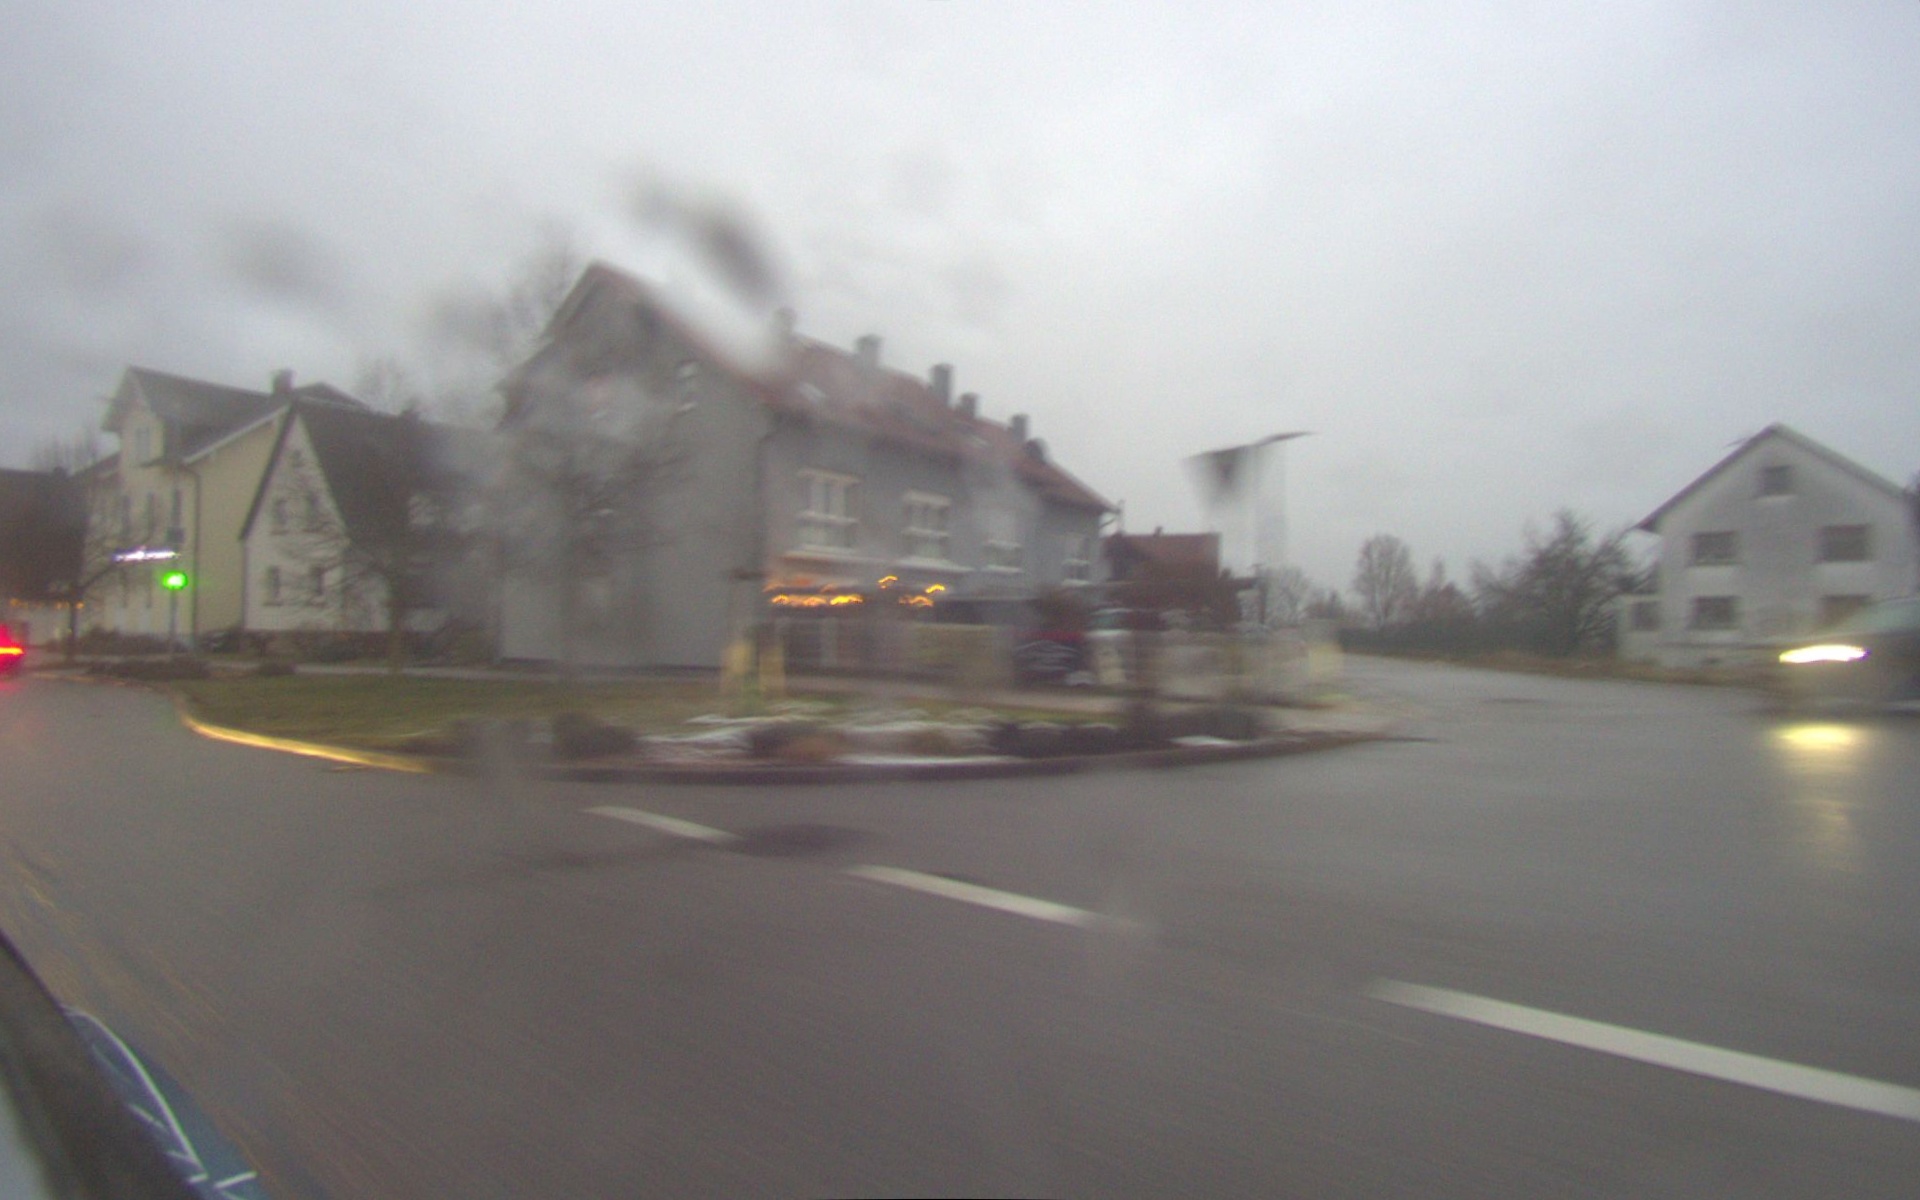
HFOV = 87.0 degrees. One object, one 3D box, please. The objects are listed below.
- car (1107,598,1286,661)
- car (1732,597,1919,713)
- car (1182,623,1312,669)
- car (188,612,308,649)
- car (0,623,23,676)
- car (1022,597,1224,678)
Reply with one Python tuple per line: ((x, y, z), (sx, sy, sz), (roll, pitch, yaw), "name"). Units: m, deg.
((5.927, 0.738, 25.475), (3.987, 1.479, 1.877), (-2, -1, 32), "car")
((12.890, 0.676, 13.183), (4.287, 1.448, 1.389), (-1, -1, 9), "car")
((9.402, 1.514, 33.337), (3.964, 1.413, 1.990), (-1, -1, 16), "car")
((-31.874, 1.379, 45.427), (1.915, 1.612, 3.958), (-1, -2, 31), "car")
((-29.209, 1.444, 29.480), (4.557, 1.499, 1.891), (-1, -1, 35), "car")
((3.616, 0.804, 22.688), (3.992, 1.663, 1.976), (-2, -1, 36), "car")
